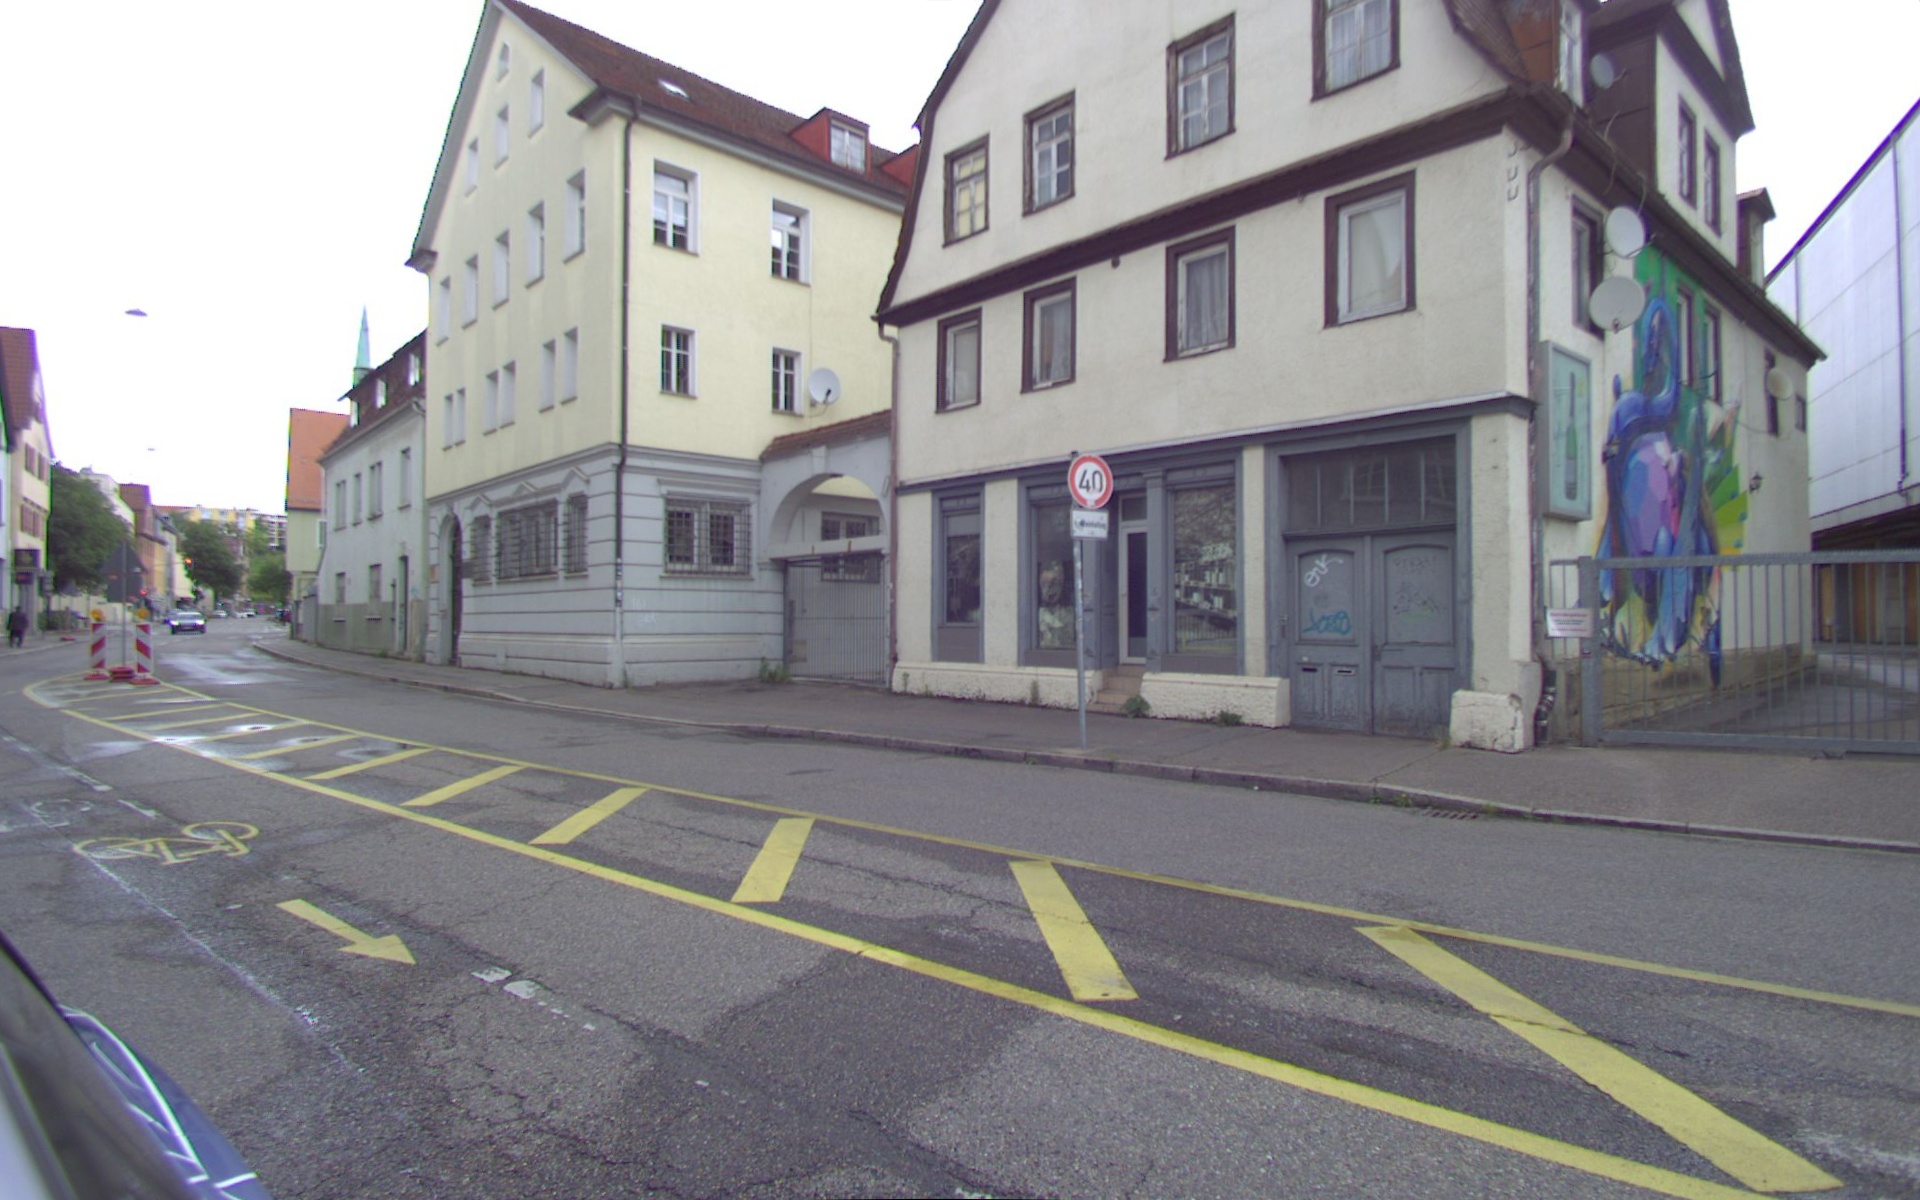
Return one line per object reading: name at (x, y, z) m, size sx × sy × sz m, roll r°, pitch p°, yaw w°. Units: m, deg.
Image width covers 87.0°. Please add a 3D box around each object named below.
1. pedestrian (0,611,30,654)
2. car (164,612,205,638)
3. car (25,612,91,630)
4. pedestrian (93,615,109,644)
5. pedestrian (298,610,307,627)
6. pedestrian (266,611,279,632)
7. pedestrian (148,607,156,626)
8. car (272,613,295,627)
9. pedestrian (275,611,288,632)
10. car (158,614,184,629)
pedestrian at (-37.197, 1.262, 39.773) m, size 0.820 × 1.668 × 0.946 m, roll 1°, pitch -2°, yaw -34°
car at (-52.677, 1.693, 68.816) m, size 1.967 × 1.691 × 4.010 m, roll 0°, pitch 0°, yaw -34°
car at (-77.419, 1.777, 86.907) m, size 3.932 × 1.475 × 2.006 m, roll 0°, pitch 0°, yaw -33°
pedestrian at (-69.504, 2.384, 81.848) m, size 0.888 × 2.328 × 0.822 m, roll 1°, pitch -2°, yaw -36°
pedestrian at (-77.682, 2.179, 119.586) m, size 0.823 × 2.029 × 0.847 m, roll 1°, pitch -2°, yaw -36°
pedestrian at (-68.425, 2.146, 100.766) m, size 0.750 × 2.138 × 0.781 m, roll -1°, pitch -2°, yaw 6°
pedestrian at (-89.146, 1.794, 111.689) m, size 0.650 × 2.131 × 0.647 m, roll 1°, pitch -2°, yaw -36°
car at (-85.865, 2.492, 128.439) m, size 2.178 × 1.690 × 4.509 m, roll 2°, pitch -2°, yaw -36°
pedestrian at (-67.525, 2.149, 100.747) m, size 0.749 × 2.138 × 0.782 m, roll -1°, pitch -2°, yaw 4°
car at (-84.959, 2.329, 109.009) m, size 2.001 × 1.567 × 4.010 m, roll 2°, pitch -2°, yaw -35°
